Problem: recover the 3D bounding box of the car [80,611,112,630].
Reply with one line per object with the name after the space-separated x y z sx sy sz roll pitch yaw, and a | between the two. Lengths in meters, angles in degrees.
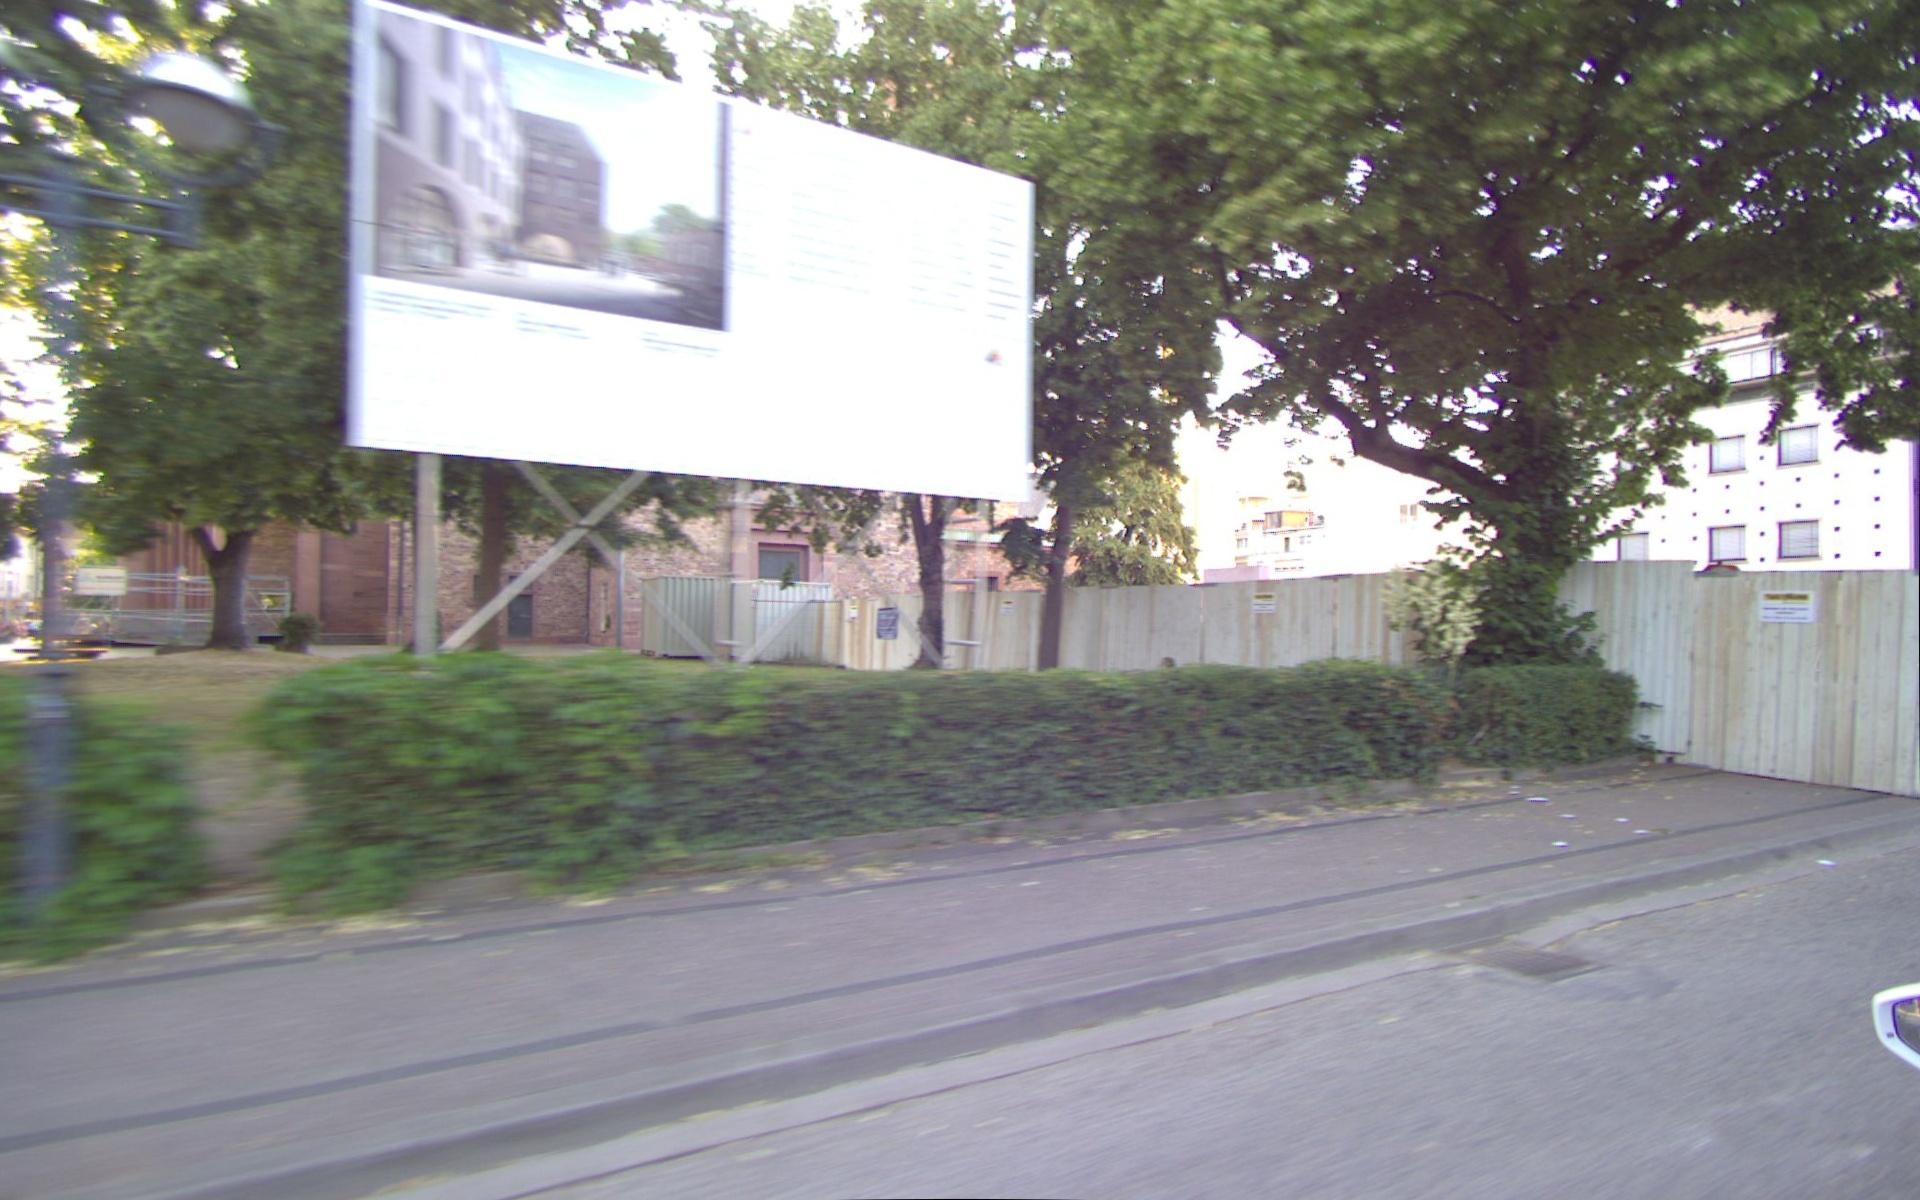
-97.639 2.348 113.555 1.977 2.040 3.969 2 -2 -30 | car
